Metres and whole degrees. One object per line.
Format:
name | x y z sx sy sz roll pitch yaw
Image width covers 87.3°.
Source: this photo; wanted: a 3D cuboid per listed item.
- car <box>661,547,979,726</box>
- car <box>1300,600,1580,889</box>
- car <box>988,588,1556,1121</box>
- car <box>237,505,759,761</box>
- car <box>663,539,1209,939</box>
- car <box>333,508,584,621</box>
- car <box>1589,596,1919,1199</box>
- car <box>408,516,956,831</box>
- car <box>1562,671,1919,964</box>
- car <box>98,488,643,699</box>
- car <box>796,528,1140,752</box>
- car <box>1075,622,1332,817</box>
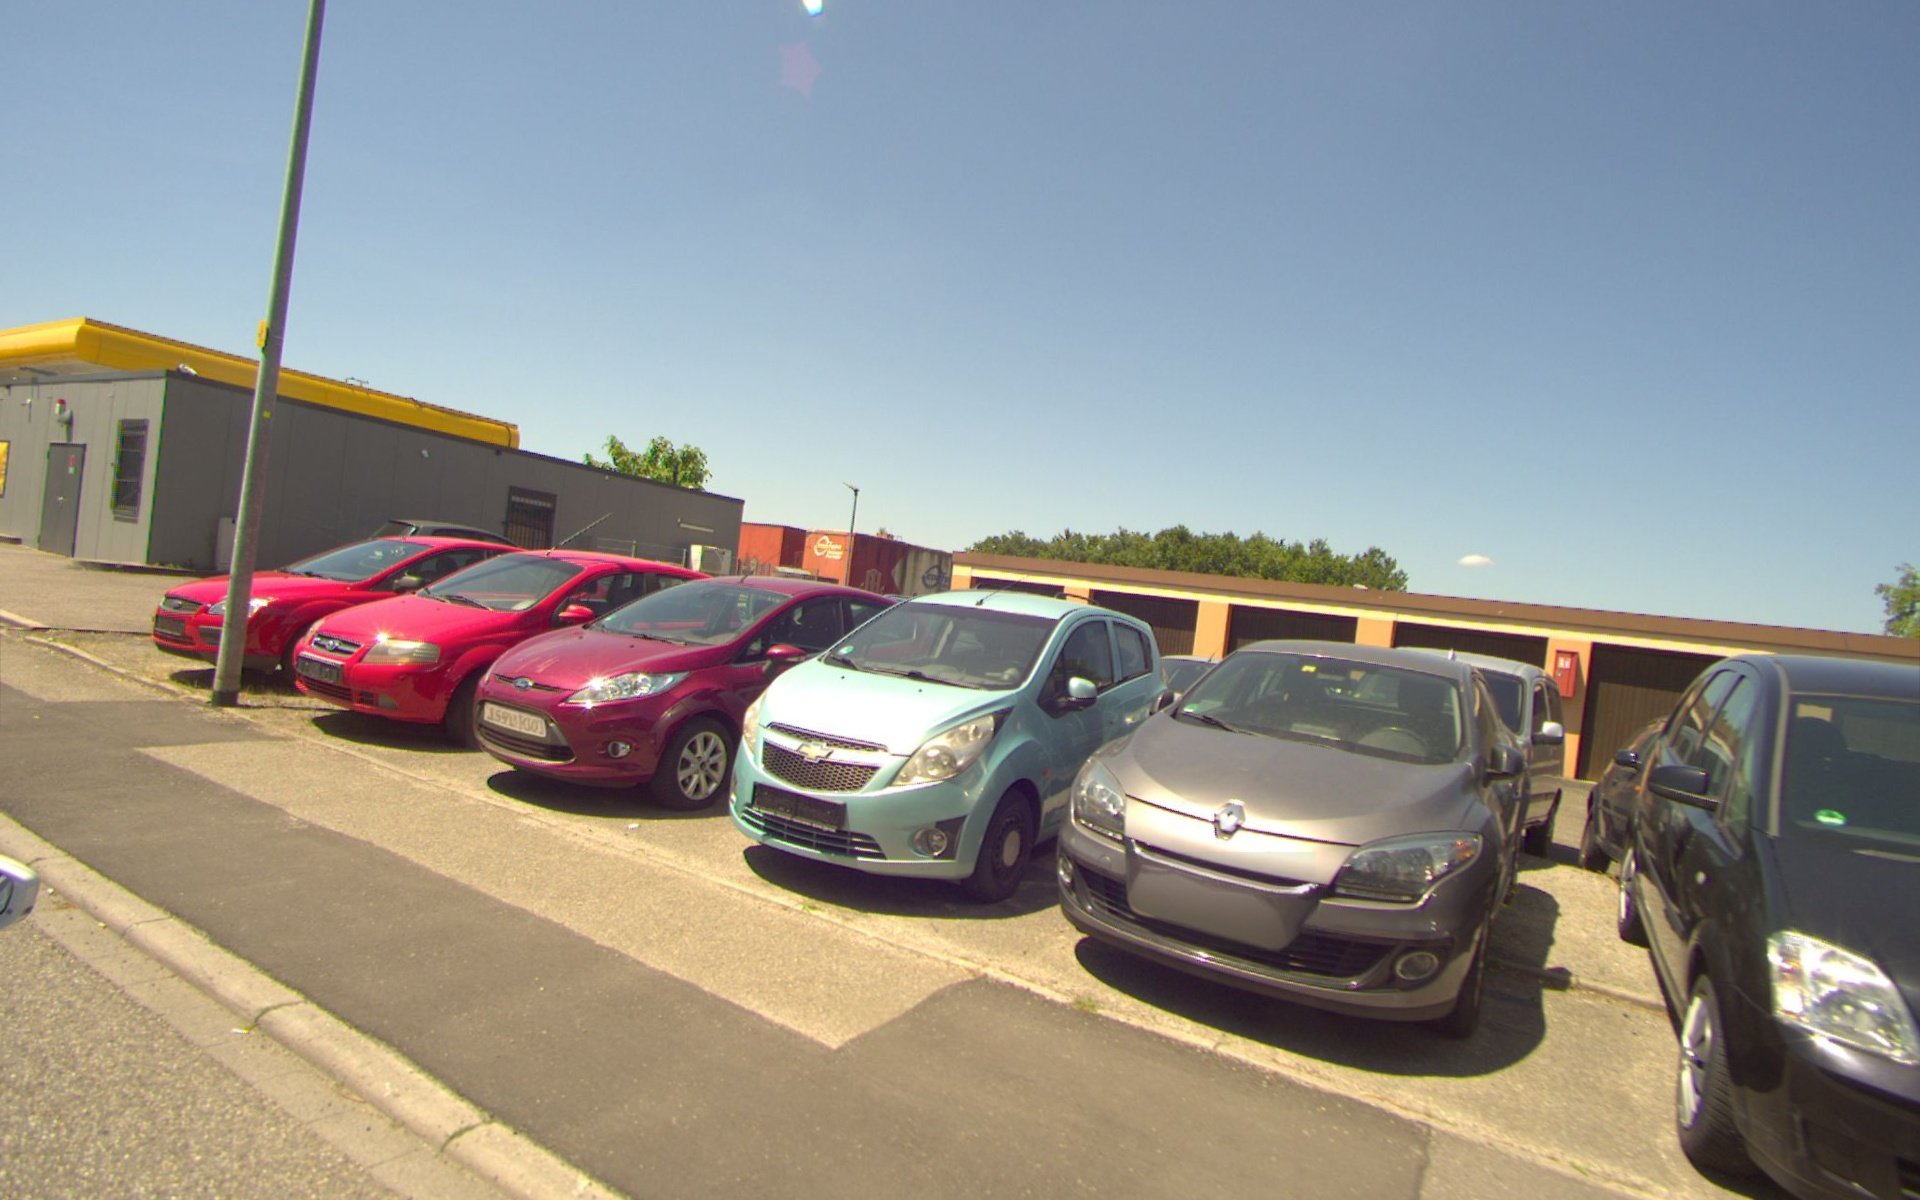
car | -1.605 0.584 13.017 1.753 1.685 4.053 7 -4 31
car | 4.501 1.275 9.076 1.661 1.857 3.905 7 -4 33
car | 1.950 0.941 5.282 1.803 1.528 3.796 7 0 32
car | -3.644 0.299 8.627 1.679 1.586 3.691 7 0 28
car | 0.174 0.693 6.280 1.614 1.586 3.691 7 0 29
car | -9.982 -0.650 20.310 1.916 1.676 3.991 6 -2 34
car | 3.670 1.056 3.827 1.733 1.701 3.883 7 0 28
car | -1.721 0.480 7.437 1.719 1.586 3.692 7 0 28
car | 5.942 1.531 7.614 1.914 1.483 3.621 7 -4 26
car | -5.570 0.042 10.107 1.925 1.553 4.230 7 0 31
car | 0.350 0.616 11.545 1.938 1.916 4.357 7 -4 29
car | 2.664 1.229 10.250 1.613 1.389 3.910 7 -4 26
